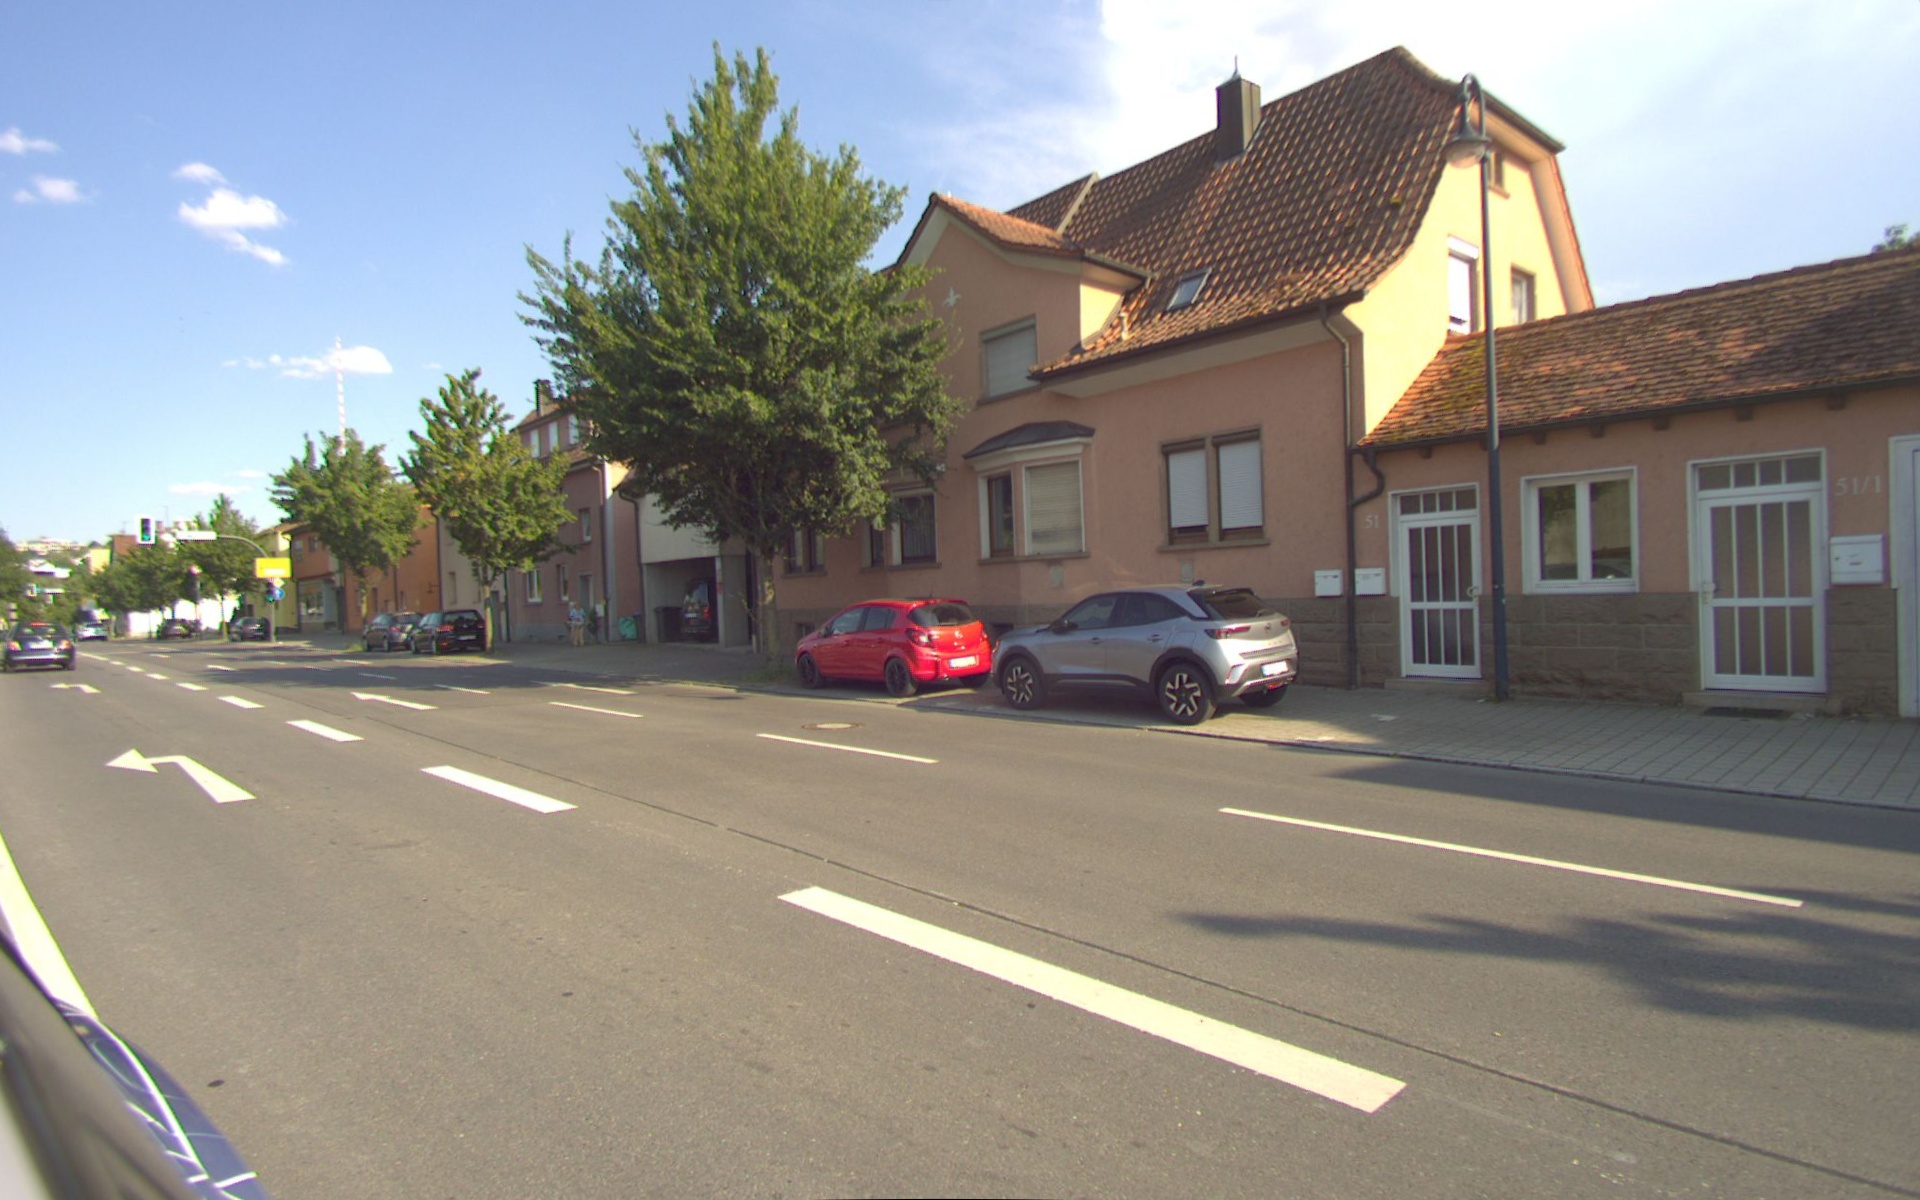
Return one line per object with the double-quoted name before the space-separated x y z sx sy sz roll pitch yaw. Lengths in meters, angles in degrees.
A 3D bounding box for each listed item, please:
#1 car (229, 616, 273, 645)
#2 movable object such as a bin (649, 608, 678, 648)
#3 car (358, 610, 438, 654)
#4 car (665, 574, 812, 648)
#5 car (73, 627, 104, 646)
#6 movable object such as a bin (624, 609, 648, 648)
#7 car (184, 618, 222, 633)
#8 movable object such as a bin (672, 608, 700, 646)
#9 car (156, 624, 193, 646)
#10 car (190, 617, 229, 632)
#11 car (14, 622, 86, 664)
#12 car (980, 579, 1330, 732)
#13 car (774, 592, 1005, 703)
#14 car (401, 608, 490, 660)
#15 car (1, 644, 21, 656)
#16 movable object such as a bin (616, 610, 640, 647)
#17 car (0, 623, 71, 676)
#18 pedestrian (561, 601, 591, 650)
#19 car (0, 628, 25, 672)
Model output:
"car" -41.898 1.805 59.739 1.573 1.449 3.779 -7 3 -42
"movable object such as a bin" -8.844 0.829 30.183 0.575 1.151 0.560 -2 -1 39
"car" -21.281 1.222 38.282 3.886 1.521 1.495 -2 1 44
"car" -6.441 0.284 29.691 3.777 1.895 1.780 -4 2 -44
"car" -77.442 3.247 89.937 4.414 1.624 1.667 -2 0 44
"movable object such as a bin" -9.843 0.860 30.750 0.501 1.146 0.470 -3 -1 45
"car" -85.133 2.851 113.821 1.567 1.576 3.426 -2 0 5
"movable object such as a bin" -8.361 0.819 30.860 0.575 1.151 0.560 -2 -1 39
"car" -60.253 2.668 77.606 1.833 1.607 4.464 -1 -1 -44
"car" -82.687 2.674 111.572 1.601 1.555 3.426 -2 -1 5
"car" -36.375 1.701 40.408 4.567 1.500 1.814 -2 -1 44
"car" 2.265 0.621 12.602 1.734 1.490 4.006 -5 2 -41
"car" -1.267 0.717 16.594 1.645 1.498 4.006 -5 2 -41
"car" -17.311 1.118 33.966 1.646 1.543 3.907 -5 2 -42
"car" -122.626 6.451 130.755 4.001 1.422 1.738 -2 -1 44
"movable object such as a bin" -10.645 0.906 32.456 0.544 1.151 0.530 -1 -1 -43
"car" -28.180 1.478 30.761 1.514 1.473 3.508 -1 -1 -44
"pedestrian" -13.036 0.863 34.354 0.765 1.619 0.724 -1 -1 -34
"car" -33.286 1.705 34.847 1.570 1.438 3.581 -1 0 -43
